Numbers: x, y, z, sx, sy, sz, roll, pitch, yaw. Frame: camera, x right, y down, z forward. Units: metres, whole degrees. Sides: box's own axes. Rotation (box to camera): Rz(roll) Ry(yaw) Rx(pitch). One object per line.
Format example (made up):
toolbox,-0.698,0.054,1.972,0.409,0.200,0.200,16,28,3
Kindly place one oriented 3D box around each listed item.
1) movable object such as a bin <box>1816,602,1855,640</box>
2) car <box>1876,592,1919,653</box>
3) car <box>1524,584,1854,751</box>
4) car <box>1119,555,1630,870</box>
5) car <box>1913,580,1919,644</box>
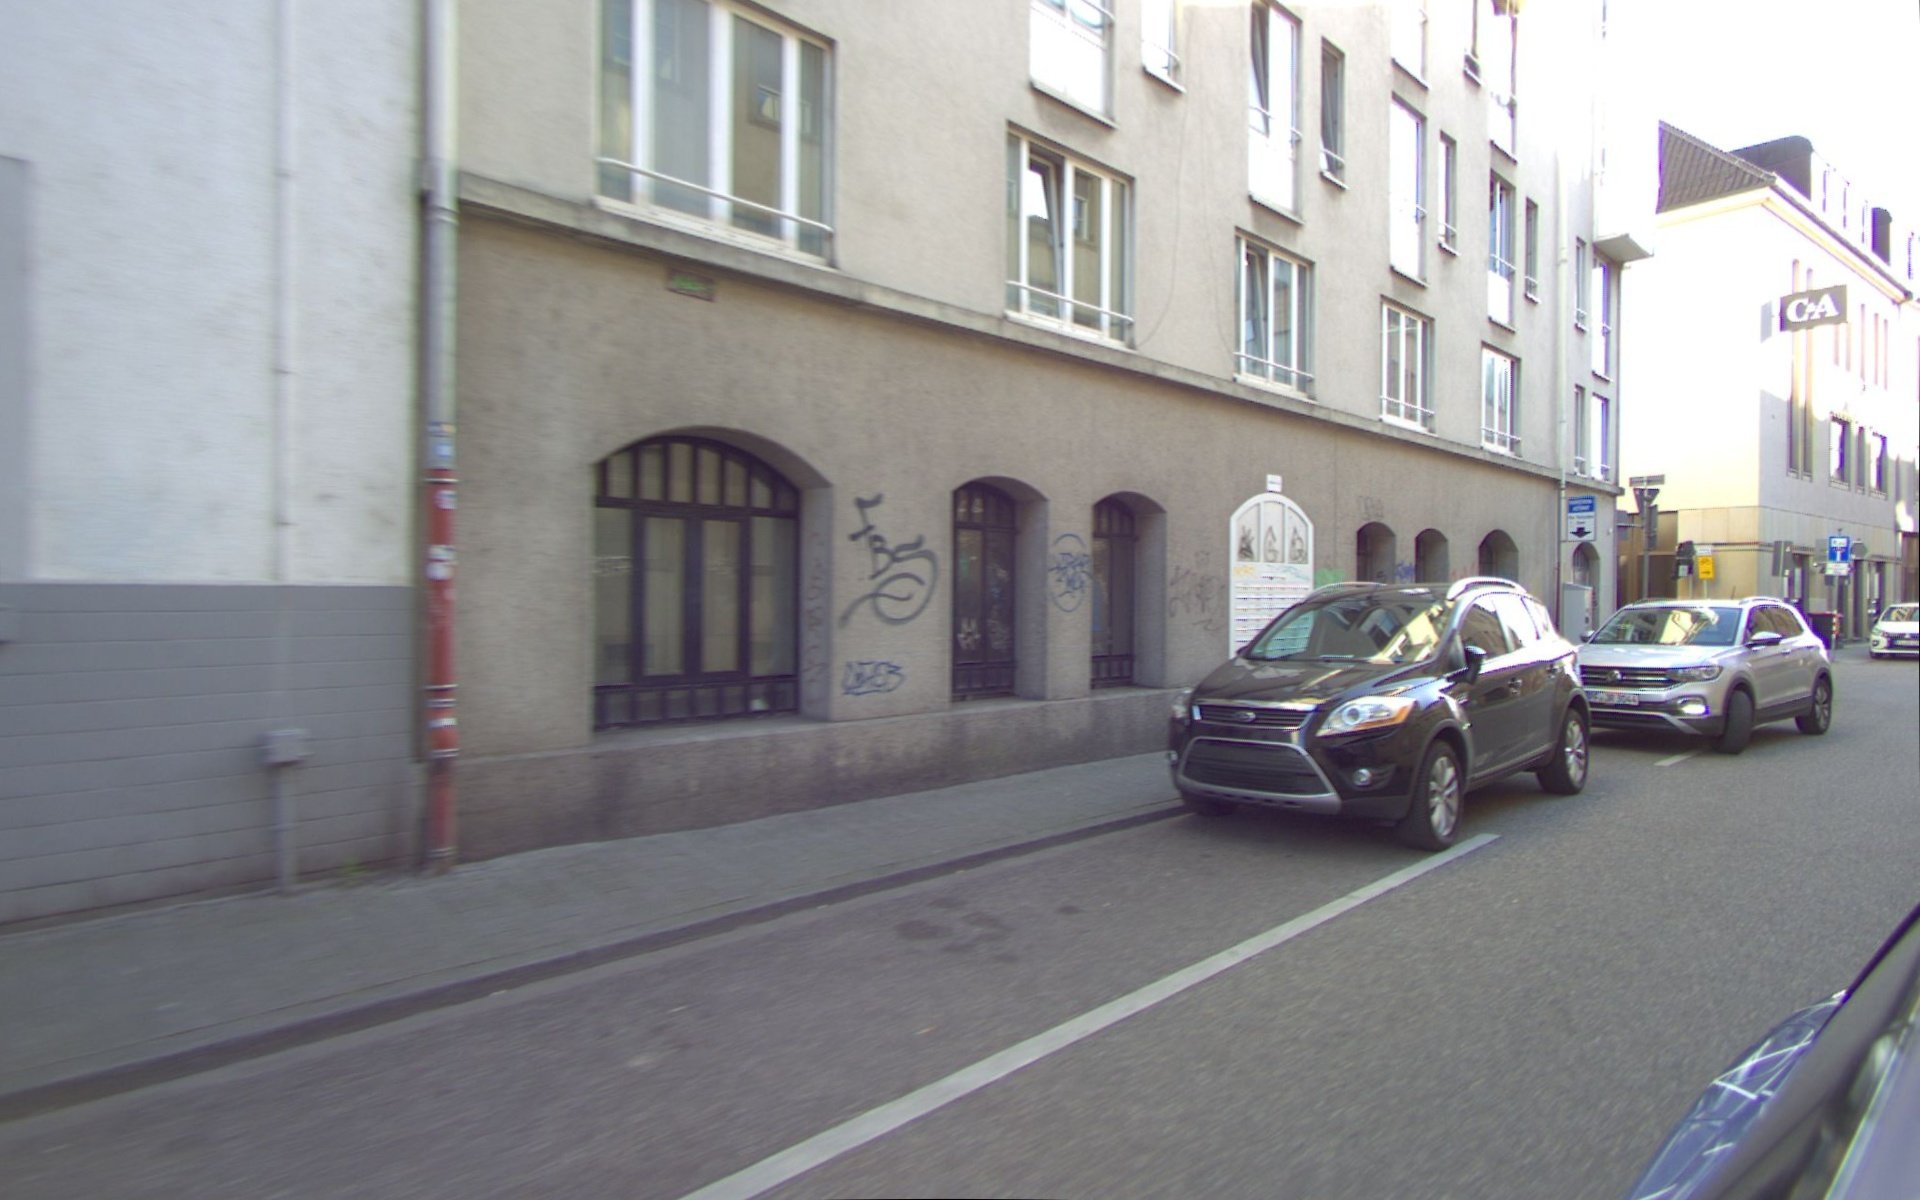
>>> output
movable object such as a bin,25.637,0.614,29.633,0.912,1.100,0.688,0,-1,-38
car,26.149,0.567,27.193,3.929,1.568,1.734,0,-1,-40
car,8.298,0.635,11.442,3.910,1.579,1.831,0,0,-35
car,3.308,0.598,7.579,4.416,1.675,1.827,0,0,-42
car,31.065,0.279,30.726,5.095,1.886,1.948,0,-4,-34
